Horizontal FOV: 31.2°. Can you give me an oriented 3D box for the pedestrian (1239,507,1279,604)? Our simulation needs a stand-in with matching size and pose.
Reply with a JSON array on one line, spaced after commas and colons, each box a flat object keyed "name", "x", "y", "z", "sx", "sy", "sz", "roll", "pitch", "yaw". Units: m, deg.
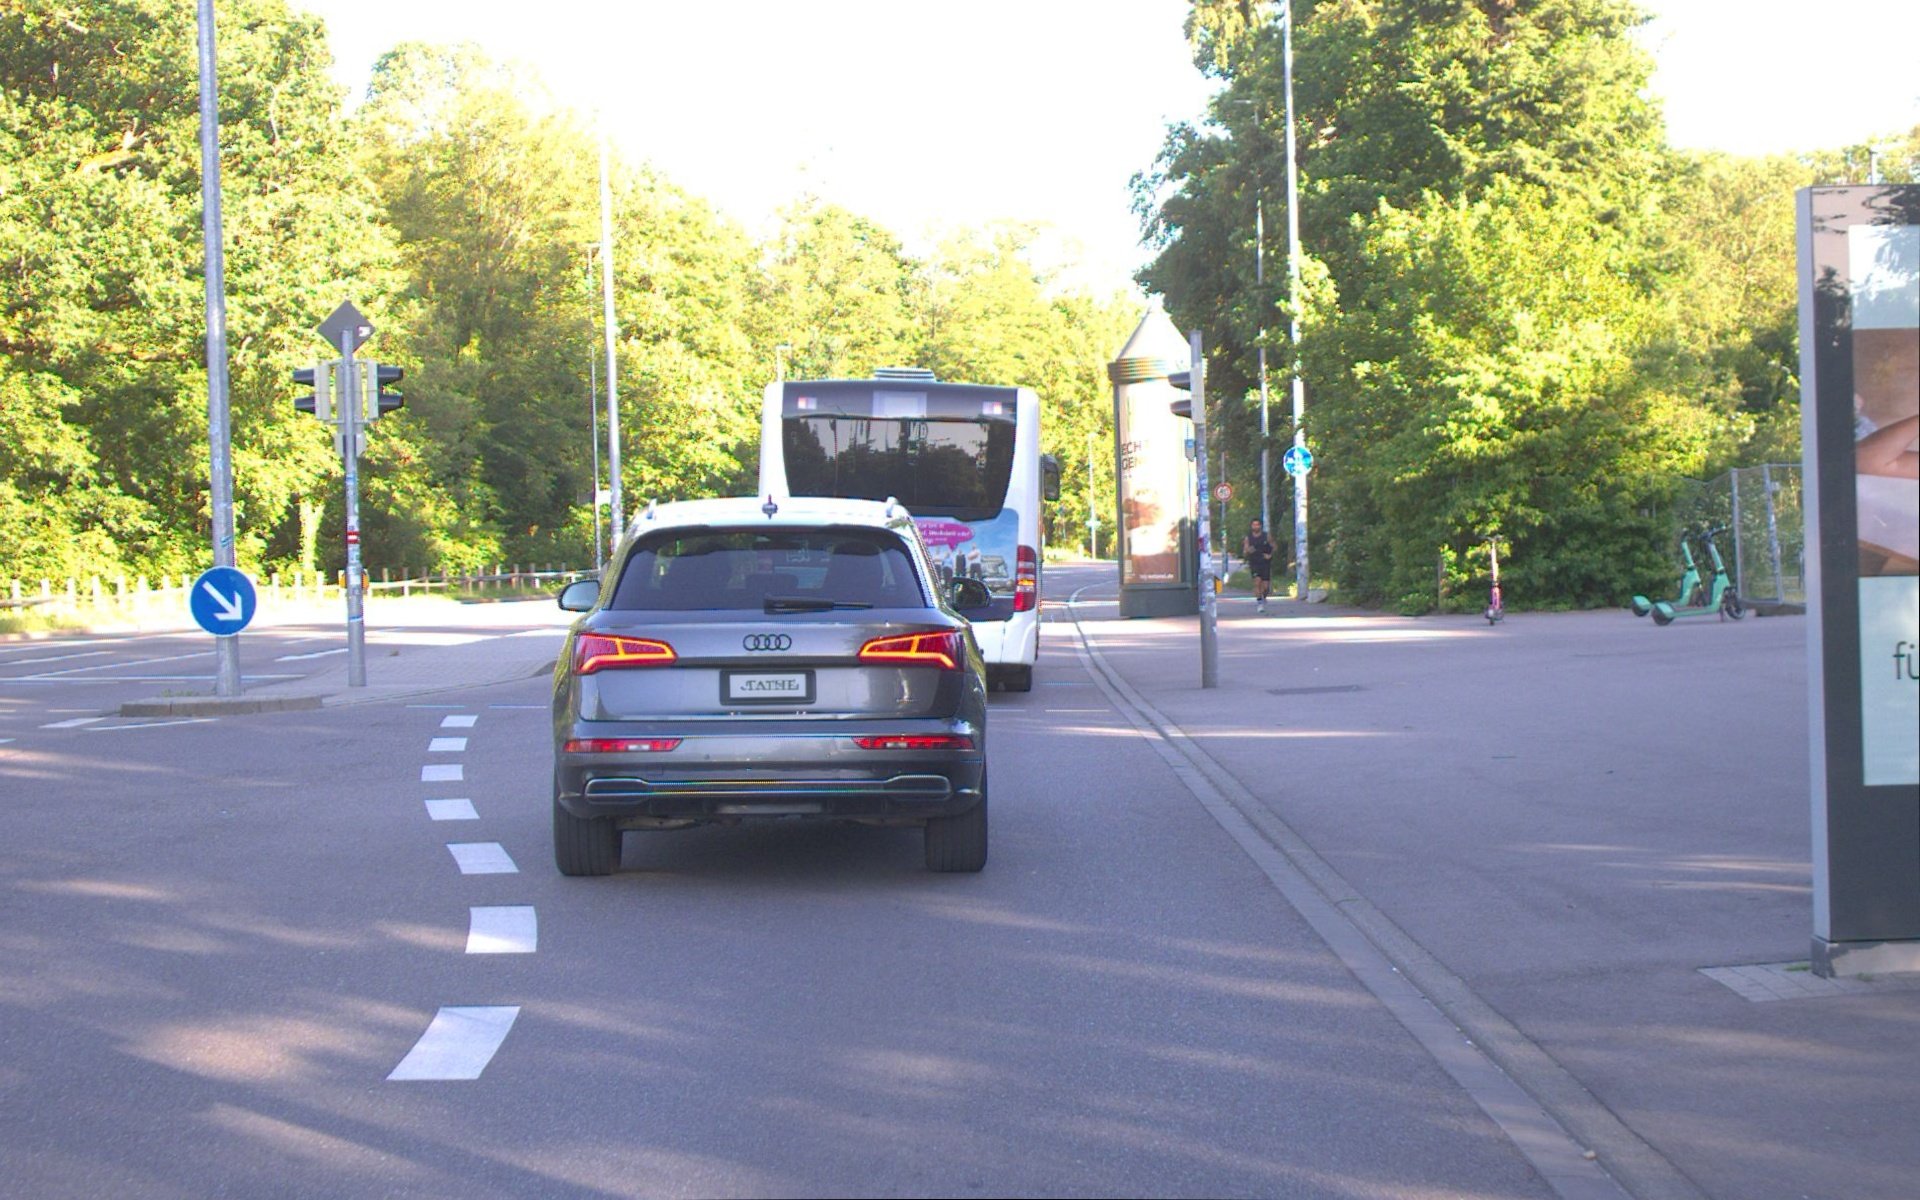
[{"name": "pedestrian", "x": 5.237, "y": -0.779, "z": 60.172, "sx": 0.626, "sy": 1.682, "sz": 0.882, "roll": 0, "pitch": 1, "yaw": 10}]

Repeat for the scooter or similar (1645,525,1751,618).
[{"name": "scooter or similar", "x": 9.584, "y": -0.366, "z": 44.645, "sx": 1.246, "sy": 1.163, "sz": 0.393, "roll": -2, "pitch": 0, "yaw": 25}]

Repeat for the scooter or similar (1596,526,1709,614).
[{"name": "scooter or similar", "x": 9.605, "y": -0.418, "z": 47.686, "sx": 1.441, "sy": 1.163, "sz": 0.393, "roll": -2, "pitch": -1, "yaw": 29}]

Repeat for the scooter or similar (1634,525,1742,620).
[{"name": "scooter or similar", "x": 9.311, "y": -0.347, "z": 44.001, "sx": 1.266, "sy": 1.143, "sz": 0.394, "roll": -3, "pitch": -1, "yaw": 8}]

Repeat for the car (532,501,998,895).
[{"name": "car", "x": -0.820, "y": 0.354, "z": 16.263, "sx": 1.893, "sy": 1.600, "sz": 4.545, "roll": 0, "pitch": 1, "yaw": -1}]

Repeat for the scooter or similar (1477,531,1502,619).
[{"name": "scooter or similar", "x": 7.290, "y": -0.348, "z": 47.339, "sx": 0.281, "sy": 1.167, "sz": 1.408, "roll": -2, "pitch": 1, "yaw": 9}]

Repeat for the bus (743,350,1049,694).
[{"name": "bus", "x": -0.628, "y": -0.778, "z": 36.311, "sx": 2.689, "sy": 3.032, "sz": 12.042, "roll": 0, "pitch": 1, "yaw": -1}]
